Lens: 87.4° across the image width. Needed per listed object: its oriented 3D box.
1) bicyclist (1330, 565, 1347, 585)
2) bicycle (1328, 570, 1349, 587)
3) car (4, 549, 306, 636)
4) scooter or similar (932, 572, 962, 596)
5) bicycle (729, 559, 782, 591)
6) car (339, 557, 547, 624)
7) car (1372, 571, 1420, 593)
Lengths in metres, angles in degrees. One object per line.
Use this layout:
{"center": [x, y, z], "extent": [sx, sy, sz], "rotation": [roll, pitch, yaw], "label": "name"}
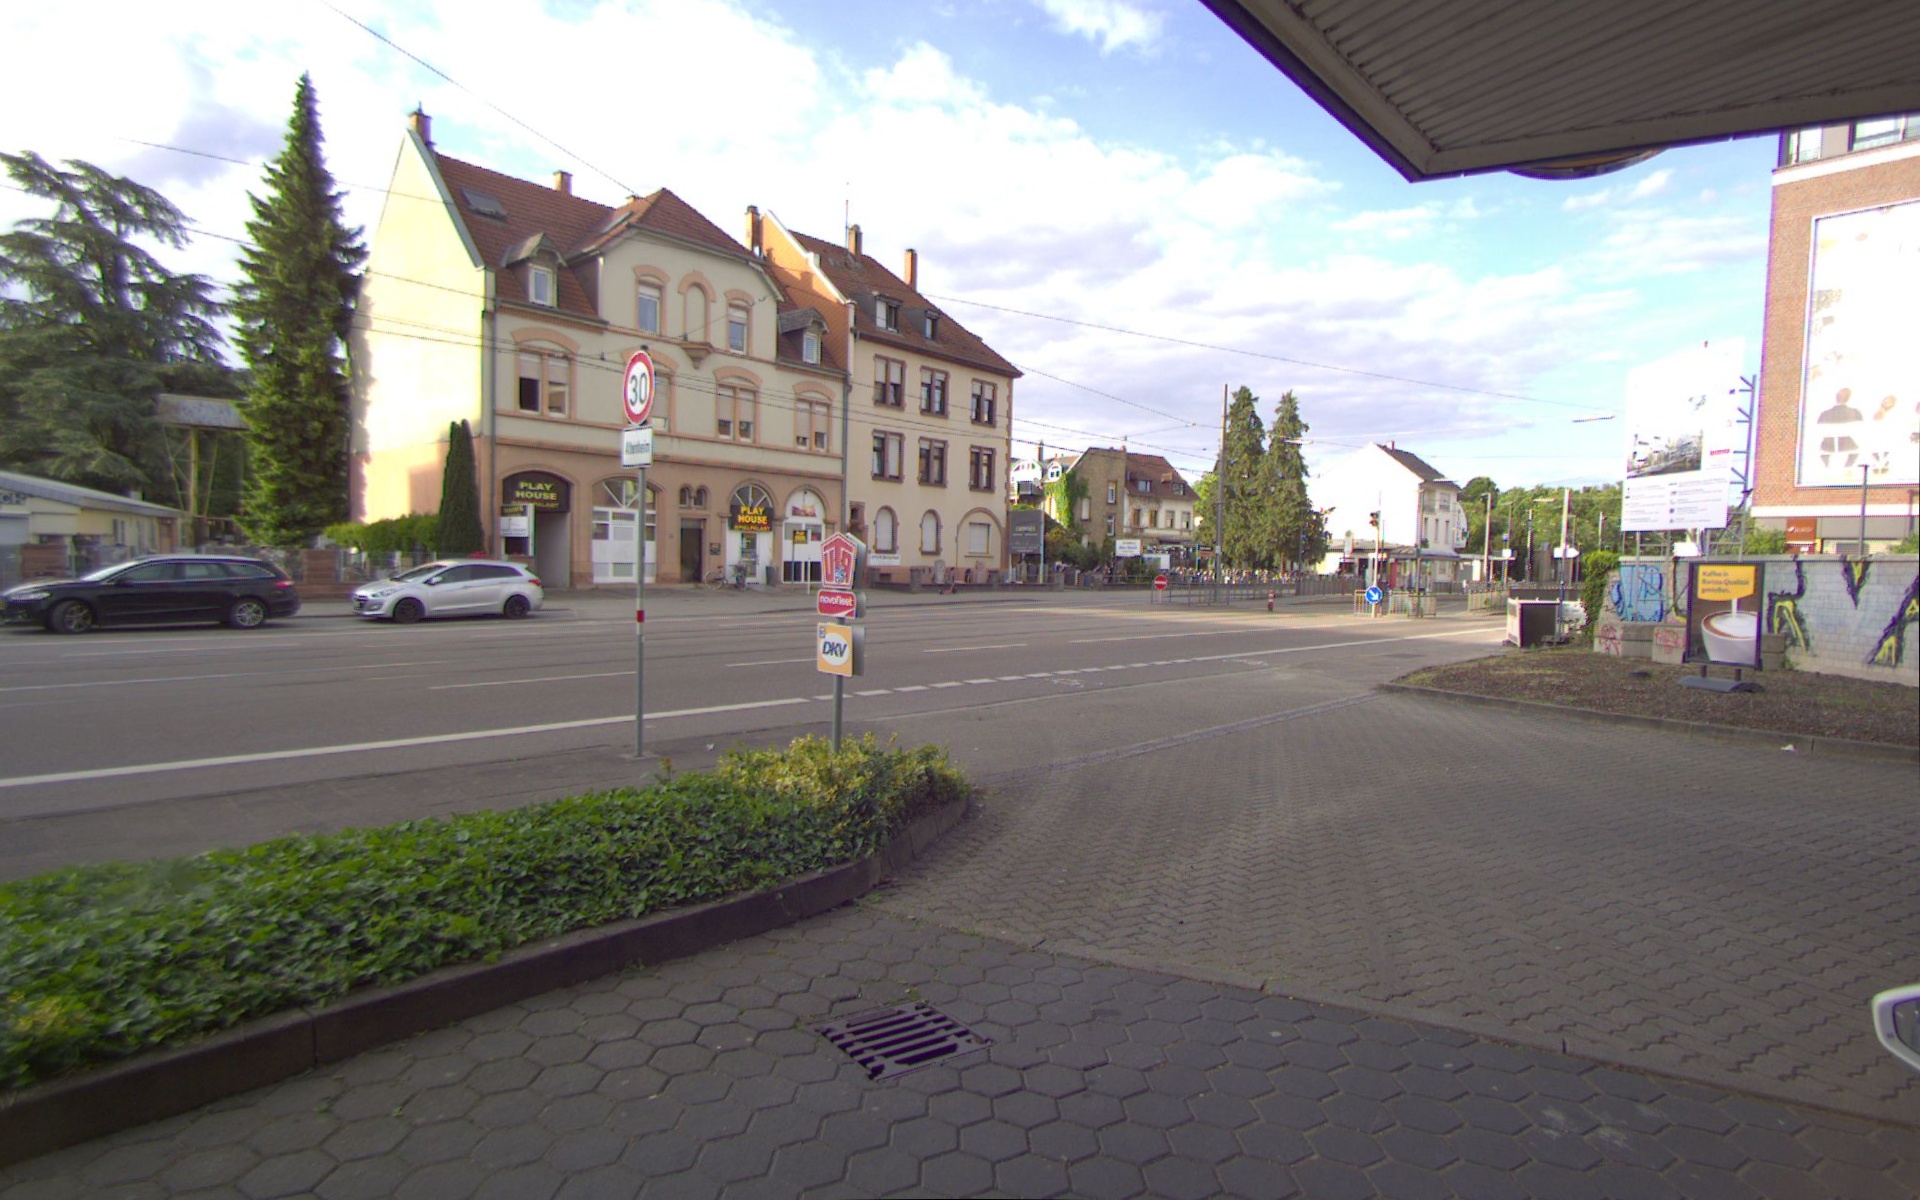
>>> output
{"center": [28.265, -1.870, 74.982], "extent": [0.741, 1.428, 0.916], "rotation": [8, 6, 42], "label": "bicyclist"}
{"center": [28.230, -1.580, 74.970], "extent": [0.741, 1.219, 1.811], "rotation": [8, 6, 42], "label": "bicycle"}
{"center": [-16.499, -0.178, 20.811], "extent": [1.827, 1.542, 4.642], "rotation": [5, 4, 40], "label": "car"}
{"center": [-0.578, -0.719, 45.086], "extent": [0.437, 1.006, 1.460], "rotation": [6, 5, 41], "label": "scooter or similar"}
{"center": [-8.259, -1.006, 40.620], "extent": [0.741, 1.219, 2.011], "rotation": [8, 5, 41], "label": "bicycle"}
{"center": [-12.941, -0.254, 25.349], "extent": [1.718, 1.502, 4.357], "rotation": [3, 2, 41], "label": "car"}
{"center": [31.253, -1.272, 71.938], "extent": [1.838, 1.489, 4.113], "rotation": [3, 3, 44], "label": "car"}
